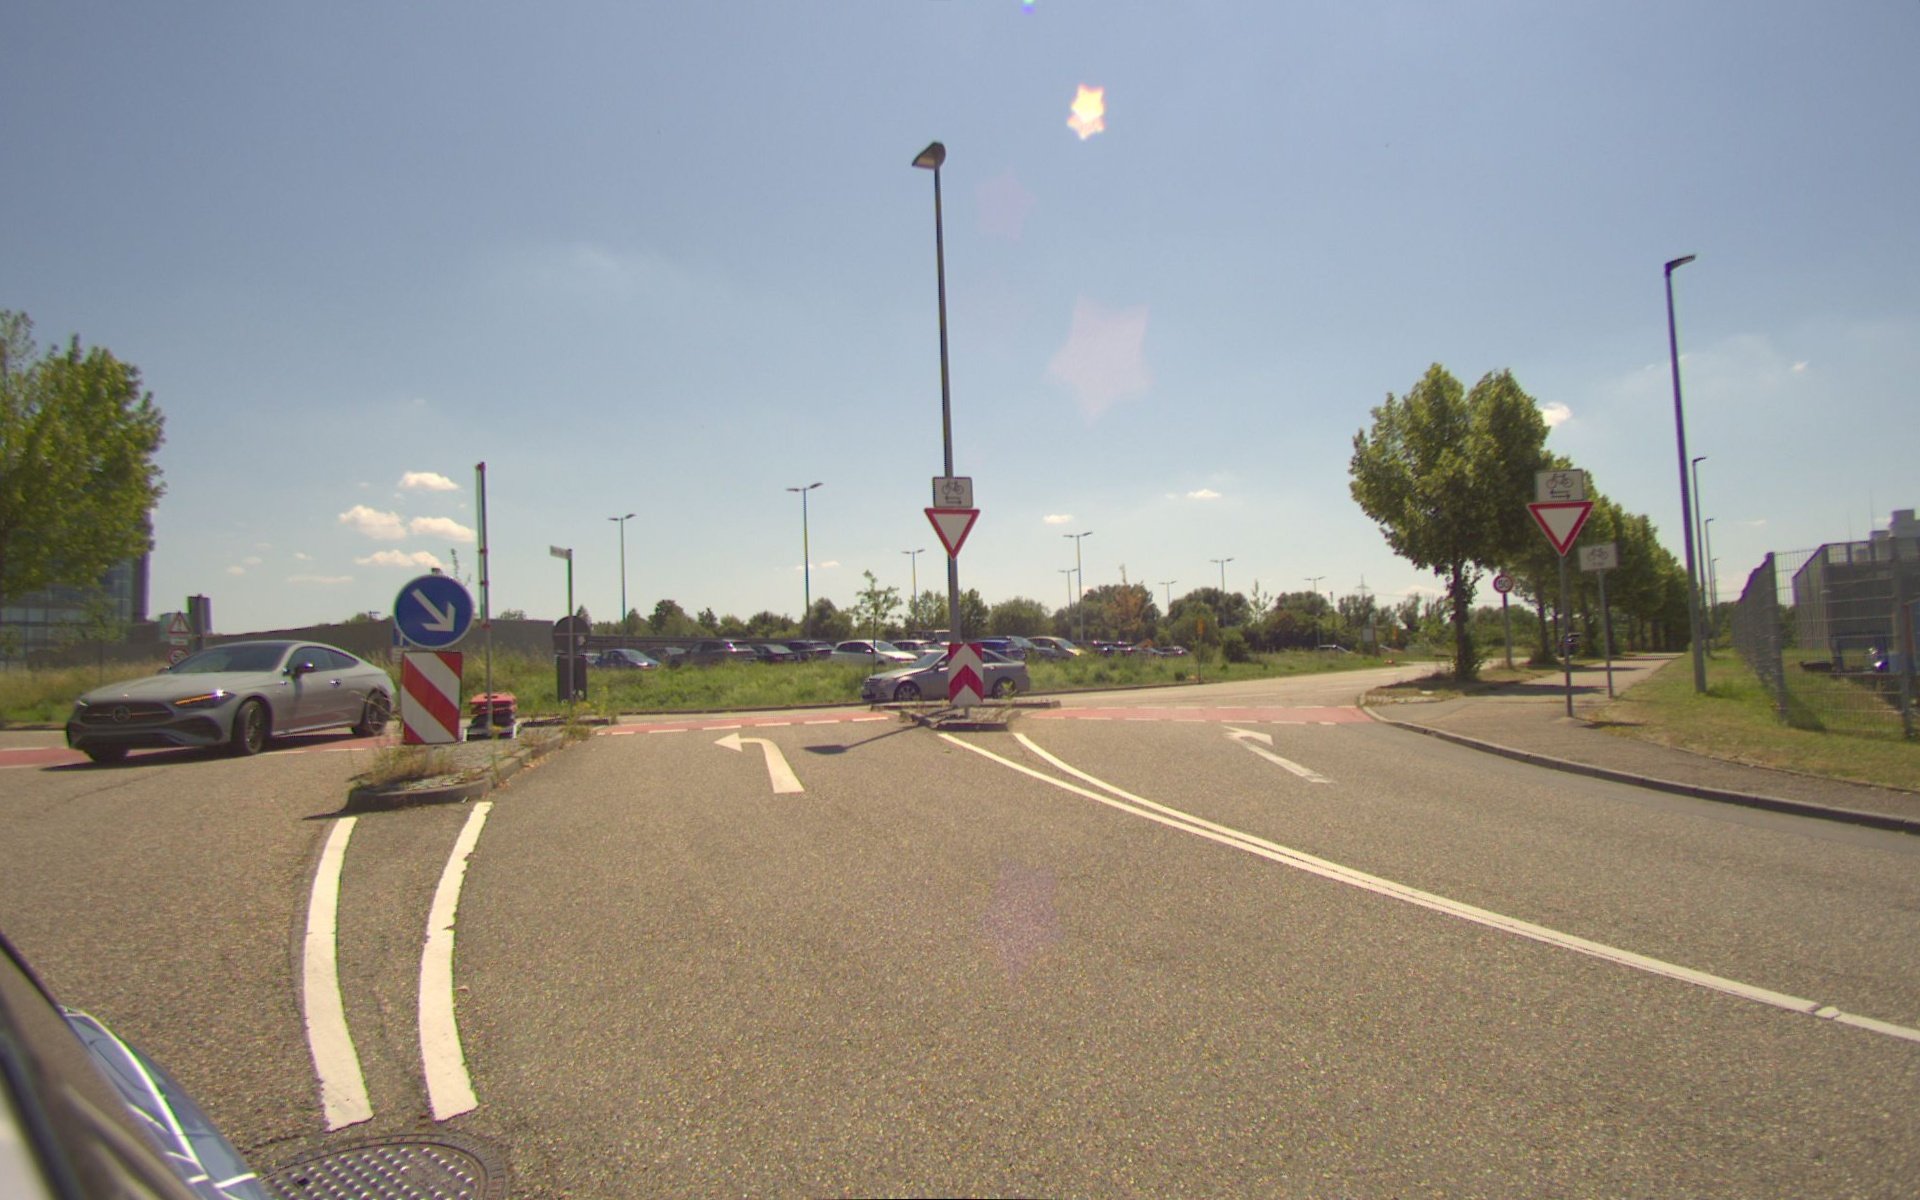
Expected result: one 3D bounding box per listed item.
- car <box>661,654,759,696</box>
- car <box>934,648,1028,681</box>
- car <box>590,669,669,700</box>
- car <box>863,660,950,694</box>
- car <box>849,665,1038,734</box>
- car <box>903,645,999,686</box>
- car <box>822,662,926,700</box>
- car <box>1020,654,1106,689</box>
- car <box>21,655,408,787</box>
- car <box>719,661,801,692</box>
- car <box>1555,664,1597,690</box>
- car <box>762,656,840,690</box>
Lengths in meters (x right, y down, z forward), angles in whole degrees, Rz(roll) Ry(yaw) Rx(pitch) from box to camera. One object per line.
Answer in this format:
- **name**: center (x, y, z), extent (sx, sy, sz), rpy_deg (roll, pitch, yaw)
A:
- **car**: center (-11.340, 3.432, 45.766), extent (4.594, 1.703, 1.755), rpy_deg (-6, -7, 36)
- **car**: center (0.928, 2.868, 45.043), extent (3.937, 1.267, 1.567), rpy_deg (-5, -4, 34)
- **car**: center (-15.851, 4.047, 48.520), extent (3.625, 1.457, 1.636), rpy_deg (-3, -5, 30)
- **car**: center (-2.147, 3.095, 40.515), extent (3.265, 1.191, 1.482), rpy_deg (-5, -4, 37)
- **car**: center (-0.401, 2.502, 25.574), extent (4.419, 1.385, 1.679), rpy_deg (-1, -6, -27)
- **car**: center (-0.405, 2.783, 42.747), extent (3.748, 1.539, 1.850), rpy_deg (-6, -4, 42)
- **car**: center (-3.304, 3.093, 38.473), extent (3.872, 1.307, 1.554), rpy_deg (-5, -4, 38)
- **car**: center (4.937, 3.448, 48.772), extent (3.840, 1.637, 1.598), rpy_deg (-3, -5, 35)
- **car**: center (-9.517, 1.542, 13.540), extent (1.871, 1.394, 4.634), rpy_deg (-2, -5, -2)
- **car**: center (-9.439, 3.596, 47.639), extent (3.841, 1.373, 1.633), rpy_deg (-3, -4, 36)
- **car**: center (42.822, 5.333, 70.290), extent (1.867, 1.647, 4.540), rpy_deg (-6, -6, 38)
- **car**: center (-7.841, 3.594, 49.711), extent (3.632, 1.610, 1.748), rpy_deg (-3, -5, 36)
